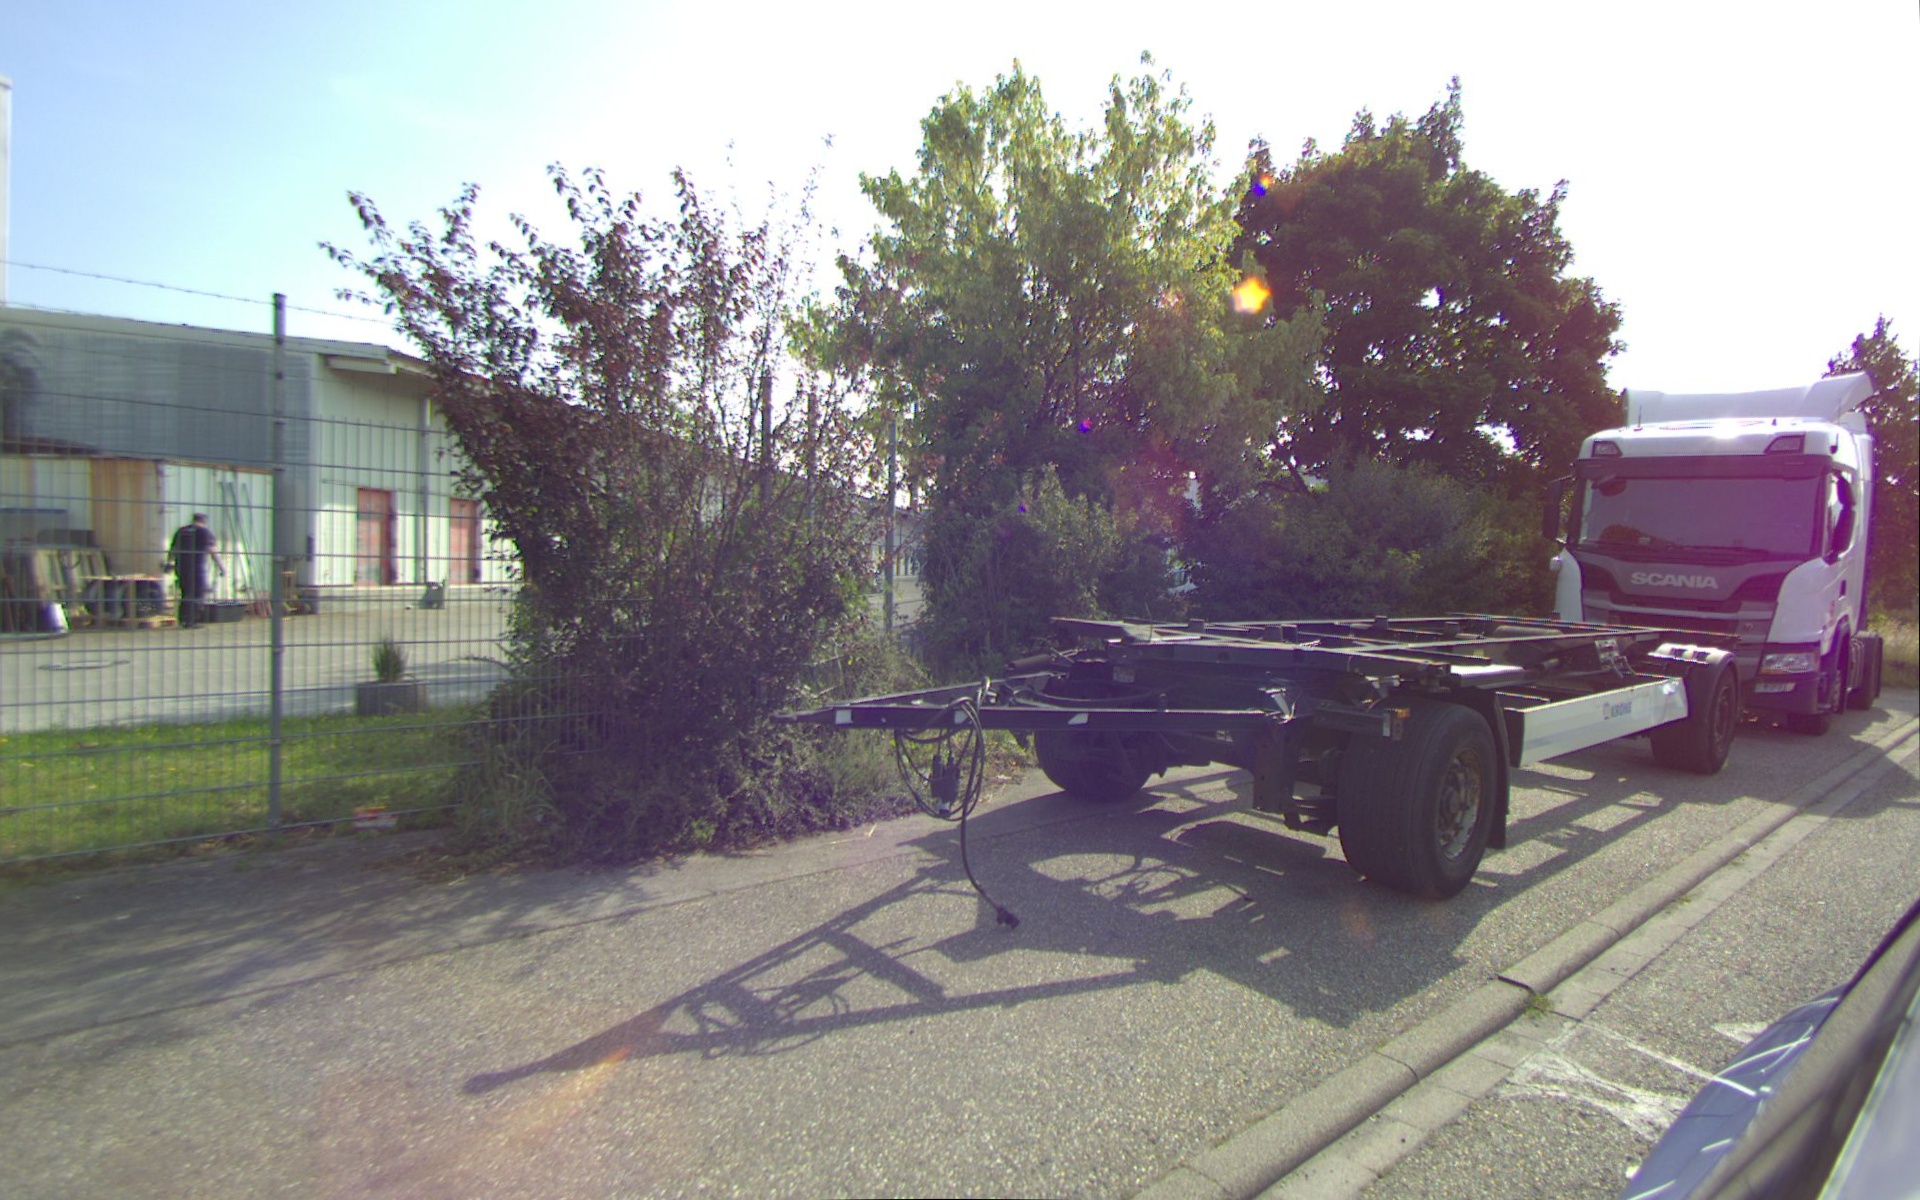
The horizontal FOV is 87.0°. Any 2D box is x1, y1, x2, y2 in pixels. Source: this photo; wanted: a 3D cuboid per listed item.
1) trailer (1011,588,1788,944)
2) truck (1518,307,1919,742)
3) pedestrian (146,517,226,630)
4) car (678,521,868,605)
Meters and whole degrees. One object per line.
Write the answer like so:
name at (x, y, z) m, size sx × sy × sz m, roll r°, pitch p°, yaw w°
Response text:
trailer at (3.677, 0.639, 7.010) m, size 7.321 × 1.250 × 1.943 m, roll 0°, pitch 4°, yaw -41°
truck at (9.475, -0.783, 12.373) m, size 5.945 × 4.012 × 2.697 m, roll 0°, pitch 4°, yaw -43°
pedestrian at (-12.301, -0.425, 16.088) m, size 0.847 × 1.743 × 0.628 m, roll 2°, pitch 1°, yaw 18°
car at (-6.521, -1.309, 35.599) m, size 6.169 × 2.681 × 2.208 m, roll 2°, pitch 1°, yaw 9°
